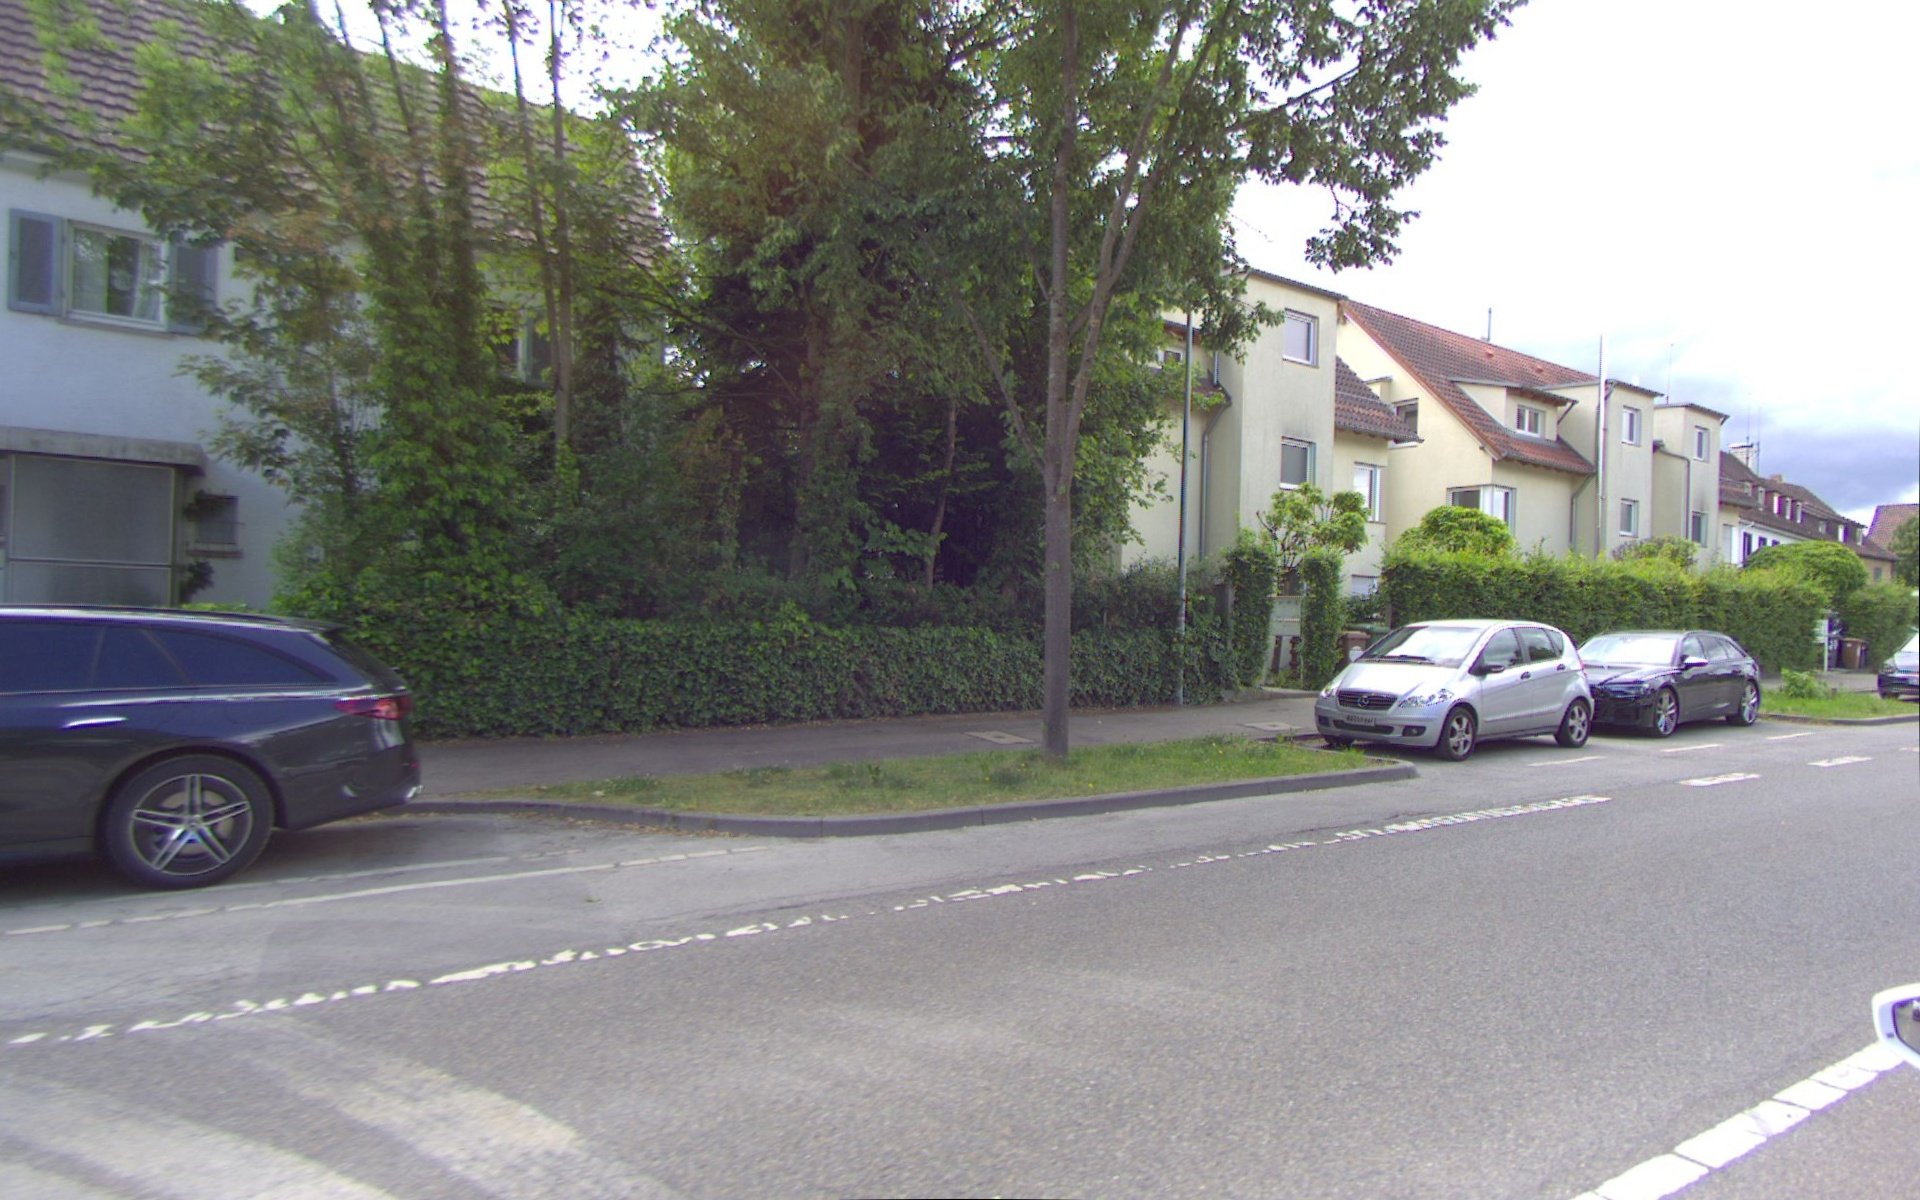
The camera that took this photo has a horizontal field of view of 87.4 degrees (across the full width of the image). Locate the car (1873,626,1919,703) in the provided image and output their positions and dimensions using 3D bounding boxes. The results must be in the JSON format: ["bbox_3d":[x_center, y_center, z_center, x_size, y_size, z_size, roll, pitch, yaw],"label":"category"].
[{"bbox_3d":[21.537,1.385,21.711,4.226,1.572,1.667,2,-1,-33],"label":"car"}]

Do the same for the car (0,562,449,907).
[{"bbox_3d":[-5.665,0.658,5.439,4.984,1.669,2.083,1,-1,-33],"label":"car"}]

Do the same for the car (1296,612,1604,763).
[{"bbox_3d":[6.209,1.006,12.632,3.866,1.634,1.709,2,-1,-32],"label":"car"}]

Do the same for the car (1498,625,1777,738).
[{"bbox_3d":[10.636,1.176,15.664,4.840,1.504,1.981,2,-2,-34],"label":"car"}]
